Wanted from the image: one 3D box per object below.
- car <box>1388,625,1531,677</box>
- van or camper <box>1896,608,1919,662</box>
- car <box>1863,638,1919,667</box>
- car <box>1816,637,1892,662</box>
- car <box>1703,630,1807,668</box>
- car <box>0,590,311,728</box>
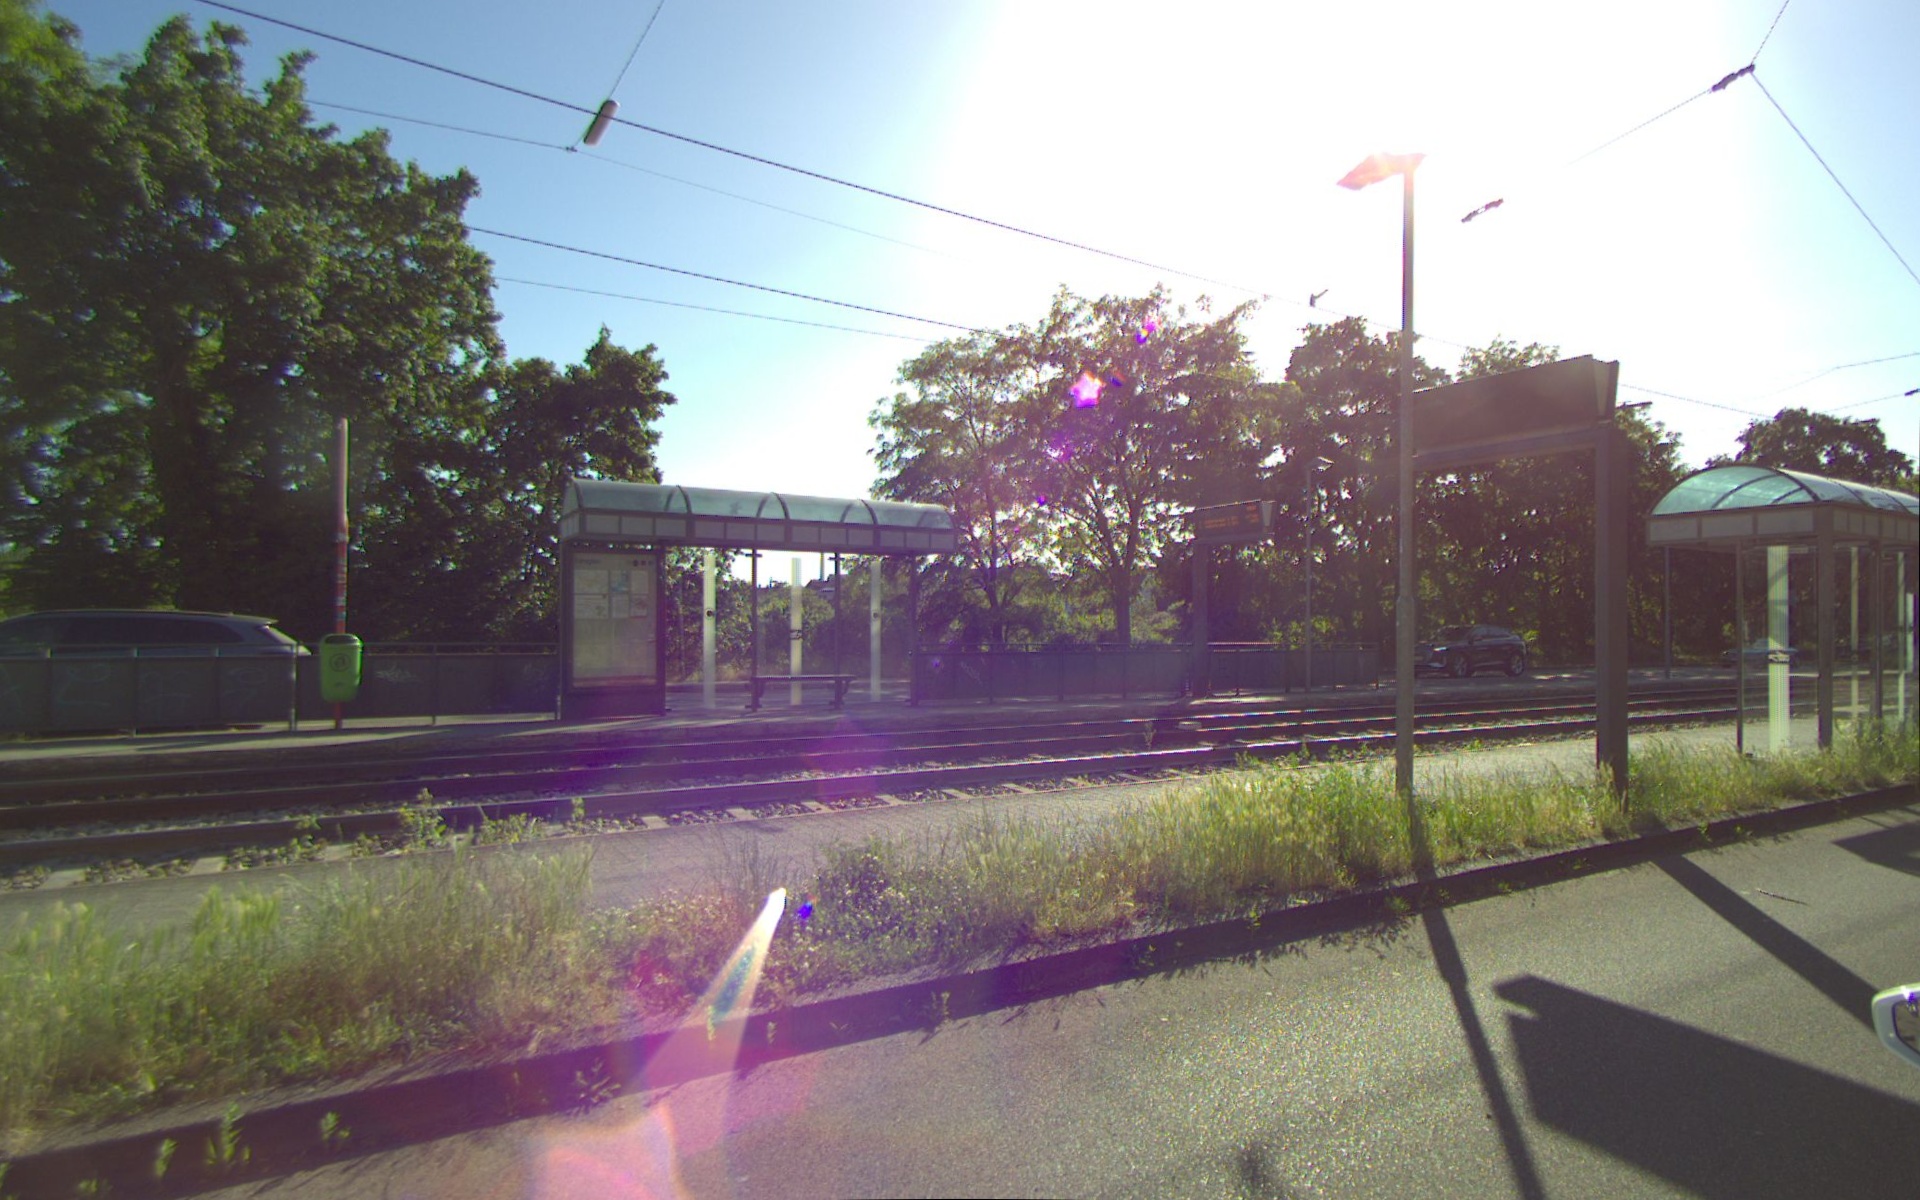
[{"bbox_3d":[15.328,1.534,30.765,4.328,1.489,1.982,2,-1,-32],"label":"car"},{"bbox_3d":[59.076,2.129,60.238,6.711,3.147,2.576,1,-2,-31],"label":"van or camper"},{"bbox_3d":[53.059,2.935,56.726,3.951,1.582,1.912,1,-2,-29],"label":"car"},{"bbox_3d":[48.059,2.646,53.976,3.952,1.283,1.912,1,-2,-30],"label":"car"},{"bbox_3d":[33.332,2.041,42.091,4.325,1.489,1.984,2,-1,-30],"label":"car"},{"bbox_3d":[-10.157,0.667,11.995,3.955,1.486,1.795,2,-1,-32],"label":"car"}]
